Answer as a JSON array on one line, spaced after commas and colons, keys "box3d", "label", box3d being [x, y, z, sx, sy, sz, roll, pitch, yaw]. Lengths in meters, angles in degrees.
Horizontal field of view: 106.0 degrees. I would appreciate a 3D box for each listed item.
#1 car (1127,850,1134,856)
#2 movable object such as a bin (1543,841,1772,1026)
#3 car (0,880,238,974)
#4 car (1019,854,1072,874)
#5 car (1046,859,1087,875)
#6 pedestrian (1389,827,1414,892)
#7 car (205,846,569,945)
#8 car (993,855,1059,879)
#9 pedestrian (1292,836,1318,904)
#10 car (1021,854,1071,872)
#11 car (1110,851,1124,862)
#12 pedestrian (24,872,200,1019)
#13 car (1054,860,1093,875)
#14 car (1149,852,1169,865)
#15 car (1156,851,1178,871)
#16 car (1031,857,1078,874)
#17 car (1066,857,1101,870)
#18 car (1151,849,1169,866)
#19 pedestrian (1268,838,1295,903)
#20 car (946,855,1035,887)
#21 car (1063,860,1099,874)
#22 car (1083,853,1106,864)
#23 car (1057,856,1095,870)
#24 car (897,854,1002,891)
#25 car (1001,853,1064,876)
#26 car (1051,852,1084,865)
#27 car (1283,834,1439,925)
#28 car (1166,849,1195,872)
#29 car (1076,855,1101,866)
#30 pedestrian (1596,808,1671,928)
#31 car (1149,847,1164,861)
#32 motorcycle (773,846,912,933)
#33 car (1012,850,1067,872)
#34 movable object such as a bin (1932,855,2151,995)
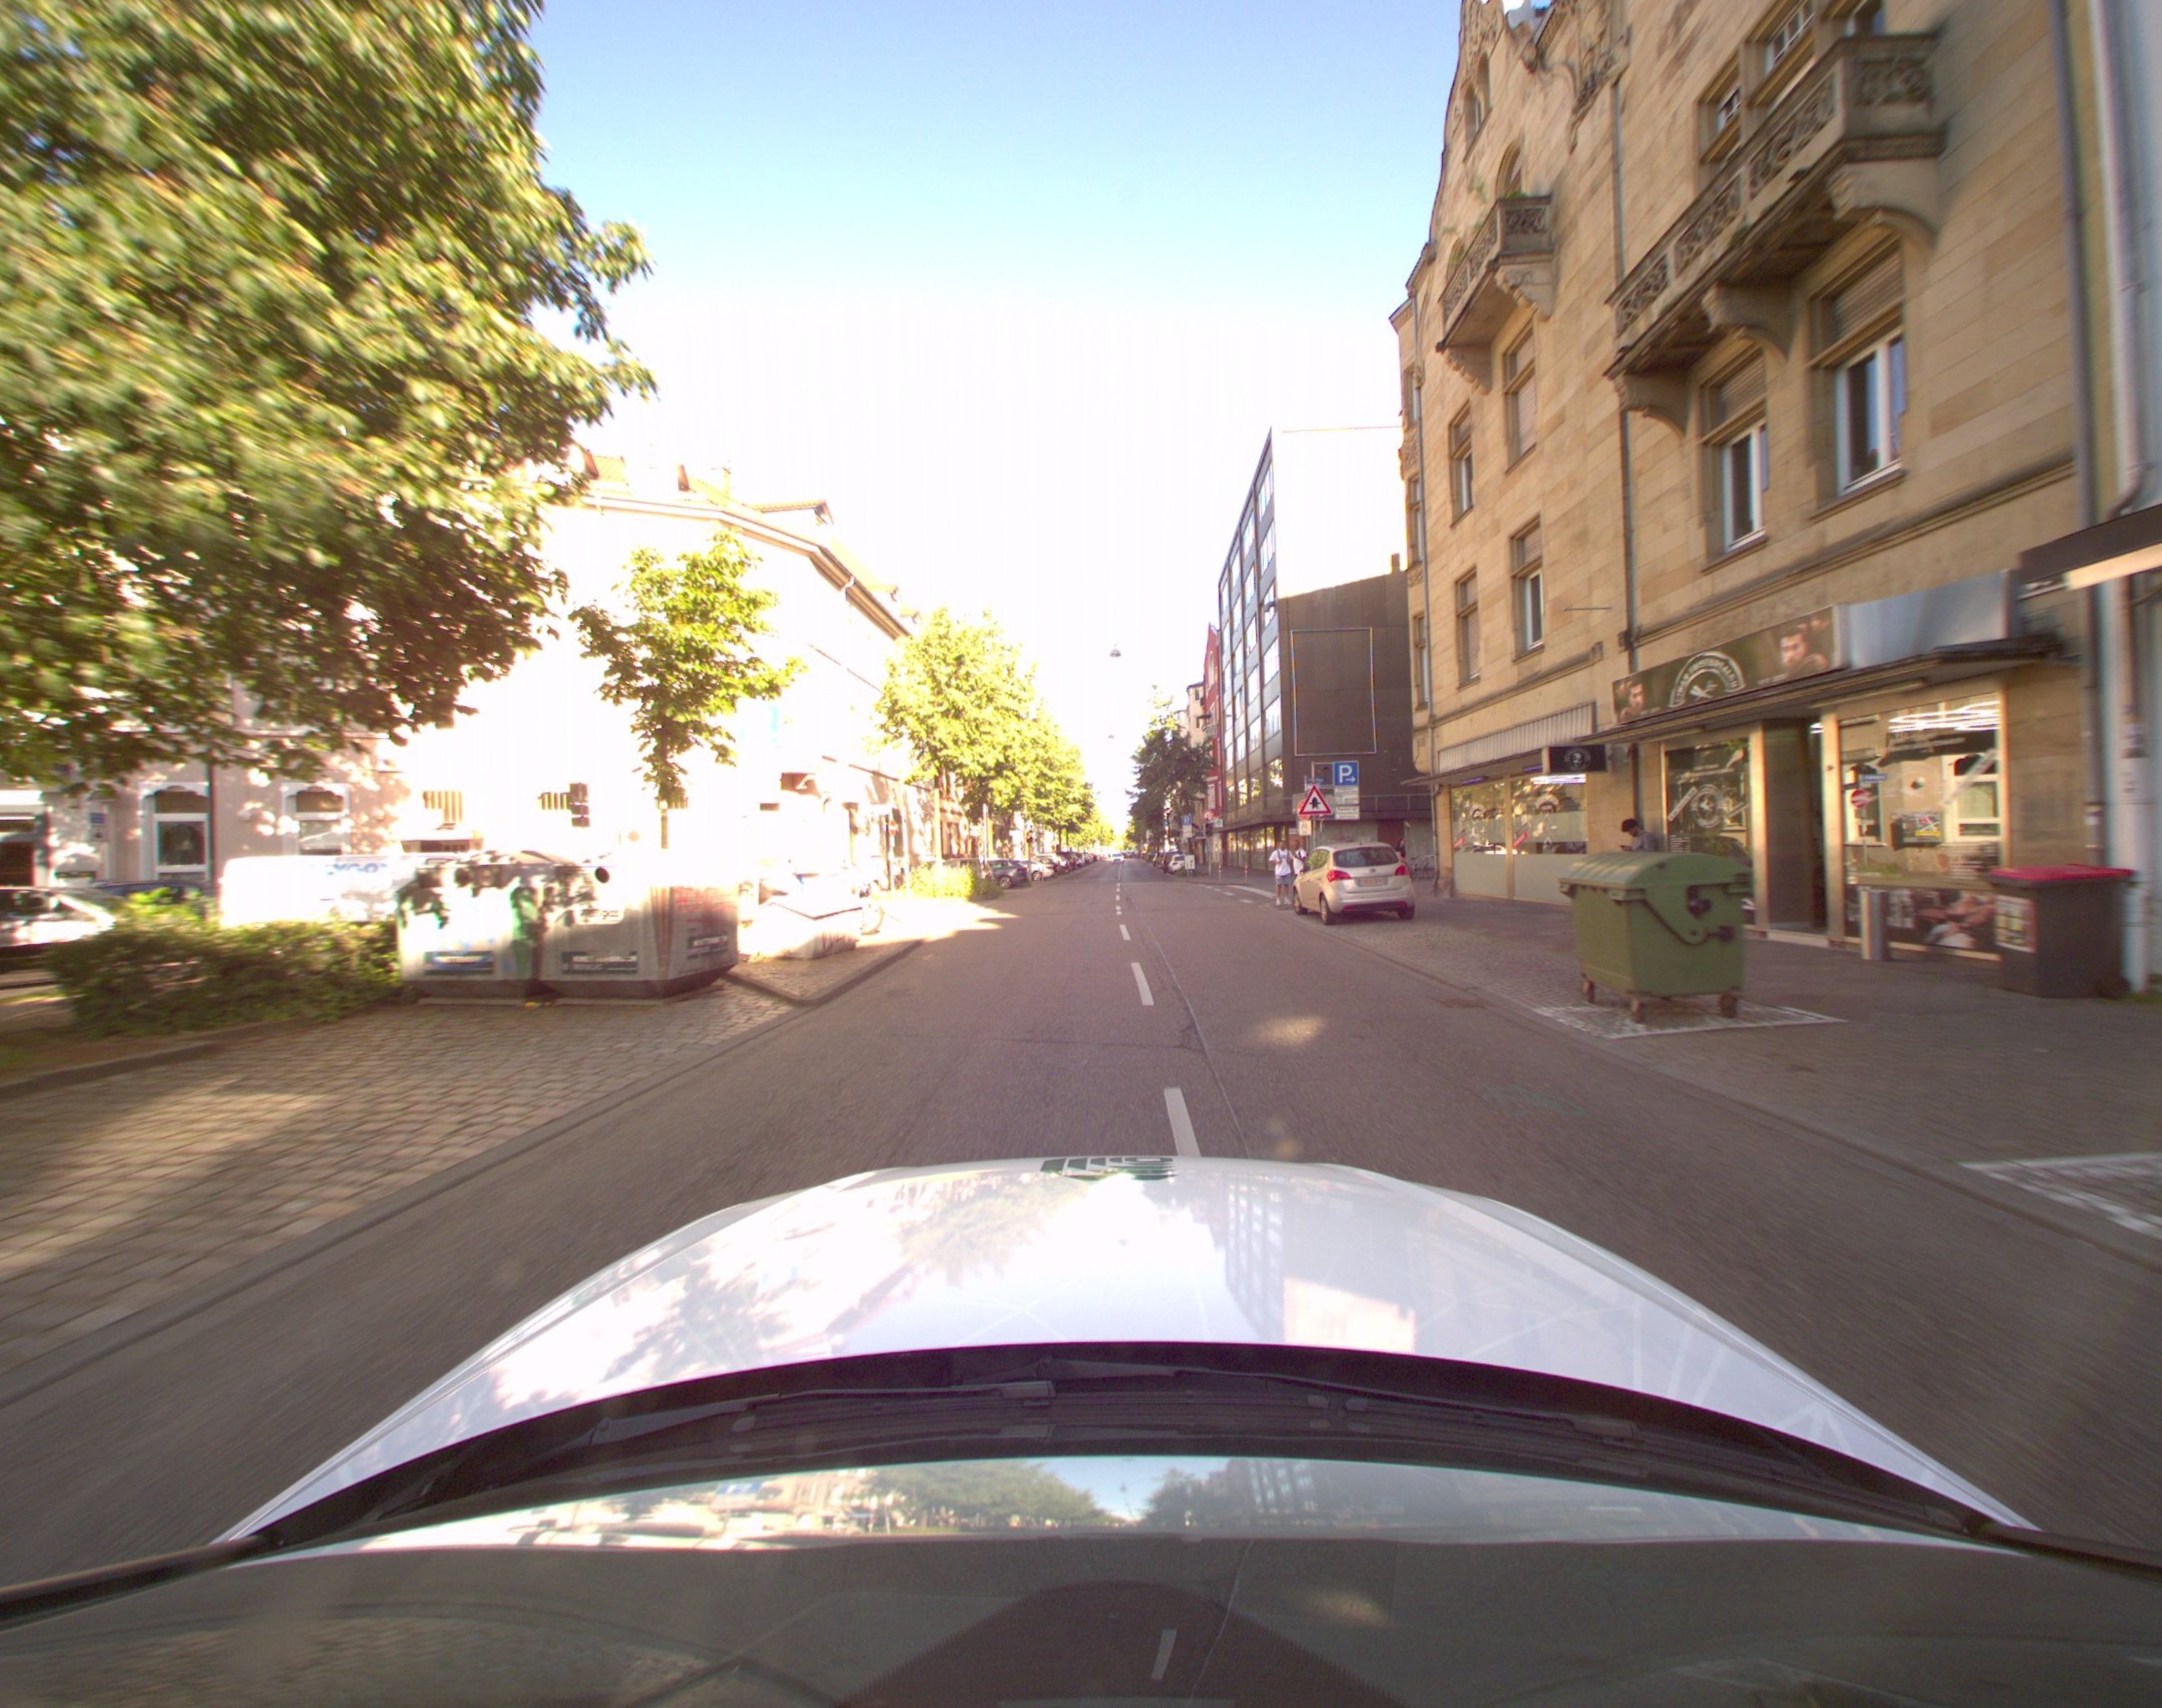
[{"box3d": [13.379, -0.341, 218.297, 1.862, 1.556, 4.004, 0, -1, 4], "label": "car"}, {"box3d": [5.140, 0.646, 7.421, 1.067, 1.457, 1.496, -4, 0, 8], "label": "movable object such as a bin"}, {"box3d": [-18.686, 1.294, 14.964, 3.920, 1.564, 1.967, 0, -1, -20], "label": "car"}, {"box3d": [-2.743, 0.768, 63.559, 3.969, 1.508, 2.002, 0, -1, 3], "label": "car"}, {"box3d": [-1.514, 1.336, 84.323, 3.966, 1.508, 2.003, 1, -1, 6], "label": "car"}, {"box3d": [9.453, 0.170, 24.027, 0.640, 1.871, 0.630, -1, -1, 25], "label": "pedestrian"}, {"box3d": [-13.875, 0.788, 16.832, 5.287, 1.800, 2.146, 0, -1, -24], "label": "car"}, {"box3d": [-3.515, 0.824, 52.344, 3.969, 1.508, 2.002, 0, -1, 3], "label": "car"}, {"box3d": [5.894, 0.423, 21.444, 0.510, 1.780, 0.612, 0, -1, 1], "label": "pedestrian"}, {"box3d": [-2.904, 0.730, 68.157, 3.969, 1.508, 1.896, 0, -1, 3], "label": "car"}, {"box3d": [5.089, 0.383, 114.837, 1.985, 1.556, 4.004, 0, -1, 4], "label": "car"}, {"box3d": [-8.861, 0.802, 7.489, 0.791, 1.267, 0.656, 0, -1, -20], "label": "pedestrian"}, {"box3d": [-0.764, 1.491, 87.588, 3.966, 1.508, 2.003, 1, -1, 6], "label": "car"}, {"box3d": [8.706, 0.528, 91.479, 1.985, 1.453, 4.003, -1, 0, 3], "label": "car"}, {"box3d": [8.756, 0.697, 83.290, 1.985, 2.014, 4.002, 0, -1, 3], "label": "car"}, {"box3d": [-2.348, 1.004, 72.759, 3.971, 1.508, 2.001, 0, -1, 2], "label": "car"}, {"box3d": [0.361, 1.168, 97.510, 3.966, 1.508, 2.003, 1, -1, 6], "label": "car"}, {"box3d": [9.898, 0.472, 101.998, 1.985, 2.013, 4.003, -2, 0, 2], "label": "car"}, {"box3d": [5.439, 0.435, 22.103, 0.611, 1.735, 0.634, 0, -1, 4], "label": "pedestrian"}, {"box3d": [-4.329, 0.835, 39.382, 3.969, 1.508, 2.002, 0, -1, 3], "label": "car"}, {"box3d": [-0.019, 1.525, 94.381, 3.966, 1.508, 2.003, 1, -1, 6], "label": "car"}, {"box3d": [2.513, 0.886, 154.574, 3.960, 2.014, 2.007, -1, -1, 12], "label": "car"}, {"box3d": [-0.551, 0.970, 89.960, 3.966, 1.508, 2.003, 1, -1, 6], "label": "car"}, {"box3d": [-5.415, 0.762, 33.958, 3.969, 1.508, 2.002, 0, -1, 3], "label": "car"}, {"box3d": [-3.229, 0.690, 54.426, 3.969, 1.508, 2.002, 0, -1, 3], "label": "car"}, {"box3d": [-1.710, 0.610, 103.365, 3.965, 1.508, 2.004, 1, -1, 7], "label": "car"}, {"box3d": [5.795, 0.512, 17.540, 1.891, 1.675, 4.828, 0, -1, 3], "label": "car"}, {"box3d": [7.174, 0.491, 59.072, 1.984, 1.618, 4.016, 0, -1, 5], "label": "car"}, {"box3d": [1.278, 1.125, 141.418, 3.960, 2.014, 2.007, -1, -1, 12], "label": "car"}, {"box3d": [8.563, 0.213, 12.650, 0.605, 1.788, 0.684, -3, -1, 2], "label": "pedestrian"}, {"box3d": [10.954, 0.027, 119.118, 1.985, 2.013, 4.003, -1, 0, 3], "label": "car"}, {"box3d": [-4.673, 0.690, 15.962, 2.451, 1.604, 1.005, -2, -1, 21], "label": "motorcycle"}, {"box3d": [-3.149, 0.553, 61.954, 3.969, 1.674, 2.091, 0, -1, 3], "label": "car"}, {"box3d": [8.127, 0.576, 6.943, 0.872, 1.123, 0.829, 0, -1, 3], "label": "movable object such as a bin"}]
